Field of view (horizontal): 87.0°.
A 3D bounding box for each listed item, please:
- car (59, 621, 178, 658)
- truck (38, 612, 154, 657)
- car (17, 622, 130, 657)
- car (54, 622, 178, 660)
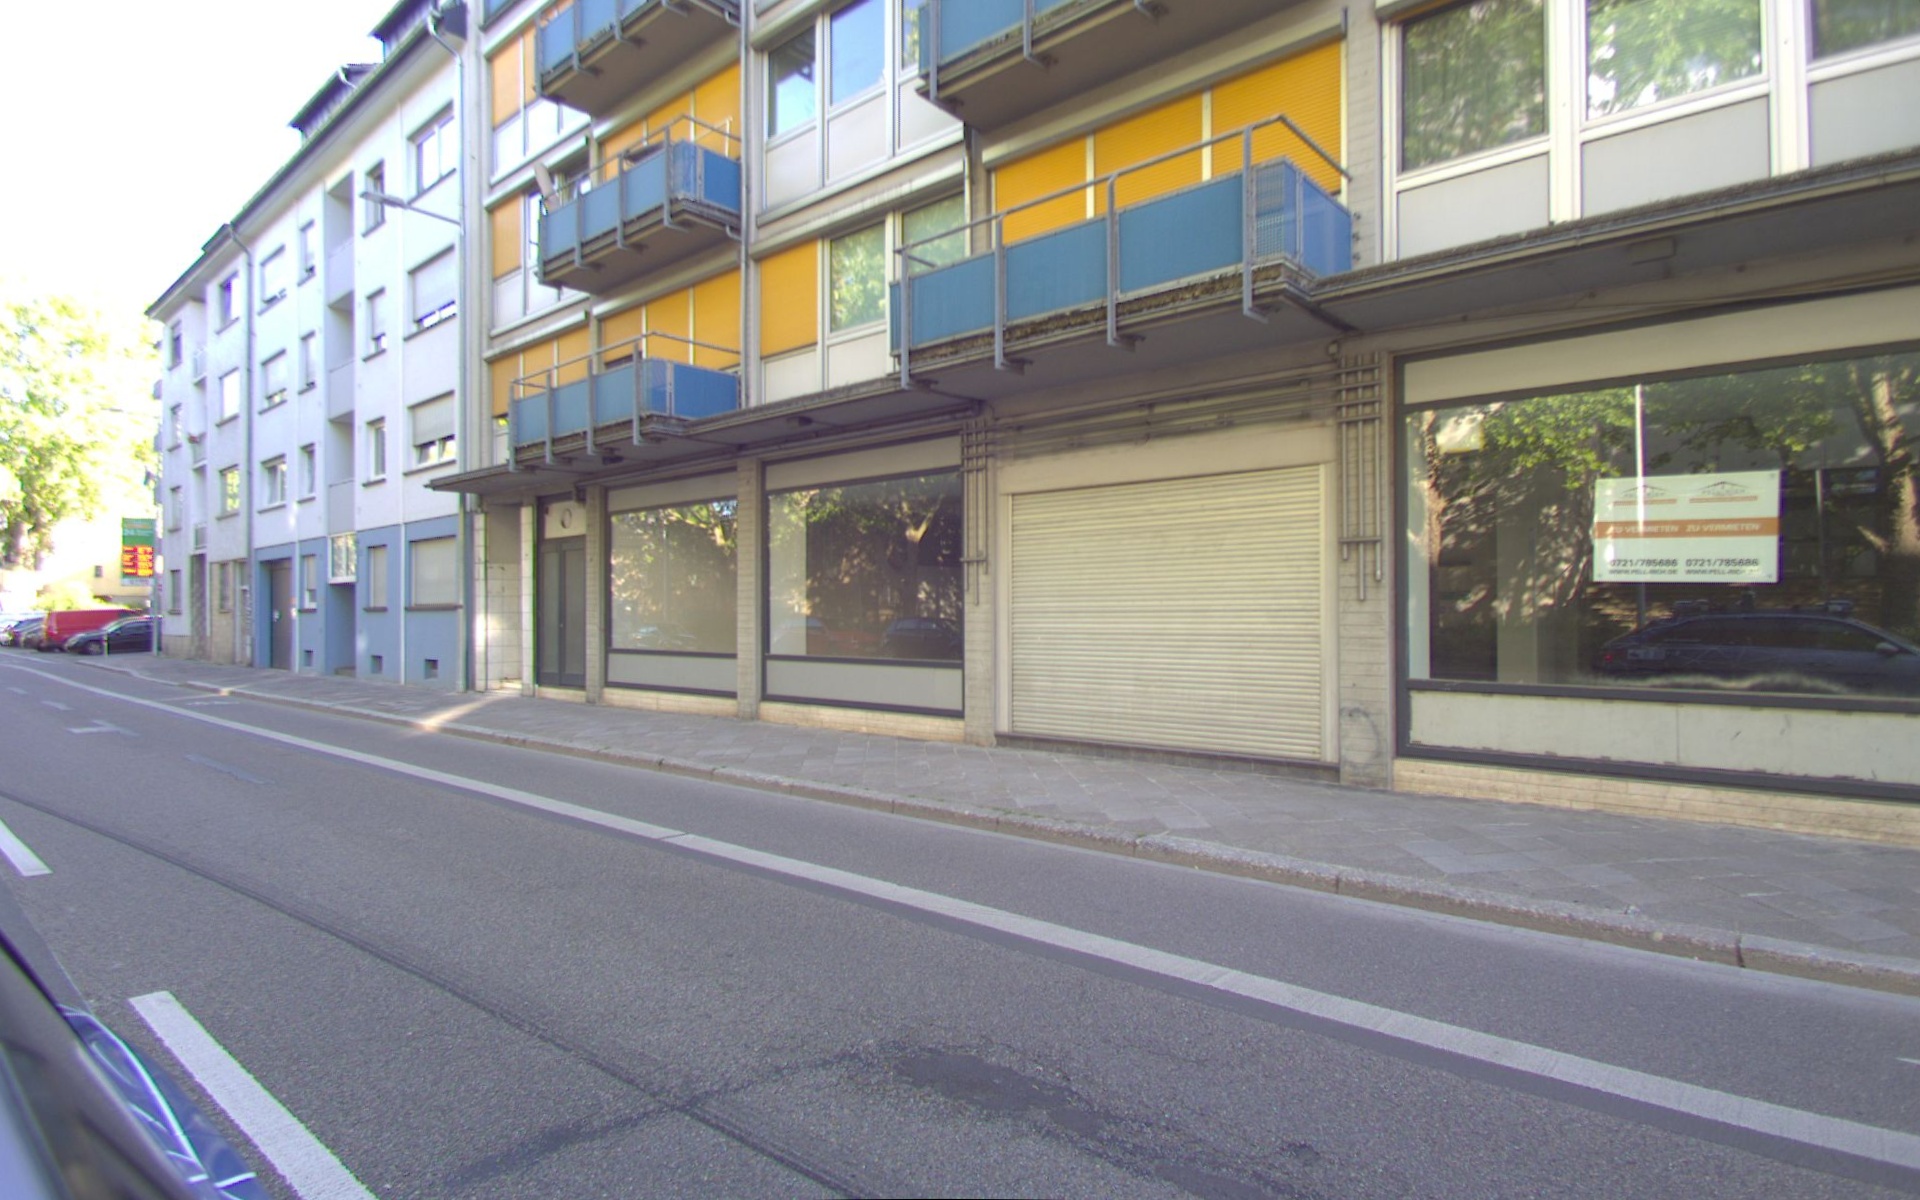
[{"bbox_3d":[-38.114,1.755,45.900,1.761,1.514,3.944,-1,0,42],"label":"car"},{"bbox_3d":[-40.505,1.568,47.491,1.761,1.951,3.944,-1,0,42],"label":"truck"},{"bbox_3d":[-42.915,1.900,49.039,1.761,1.514,3.944,-1,0,42],"label":"car"},{"bbox_3d":[-36.634,1.759,44.012,1.761,1.468,3.944,-1,0,42],"label":"car"}]
